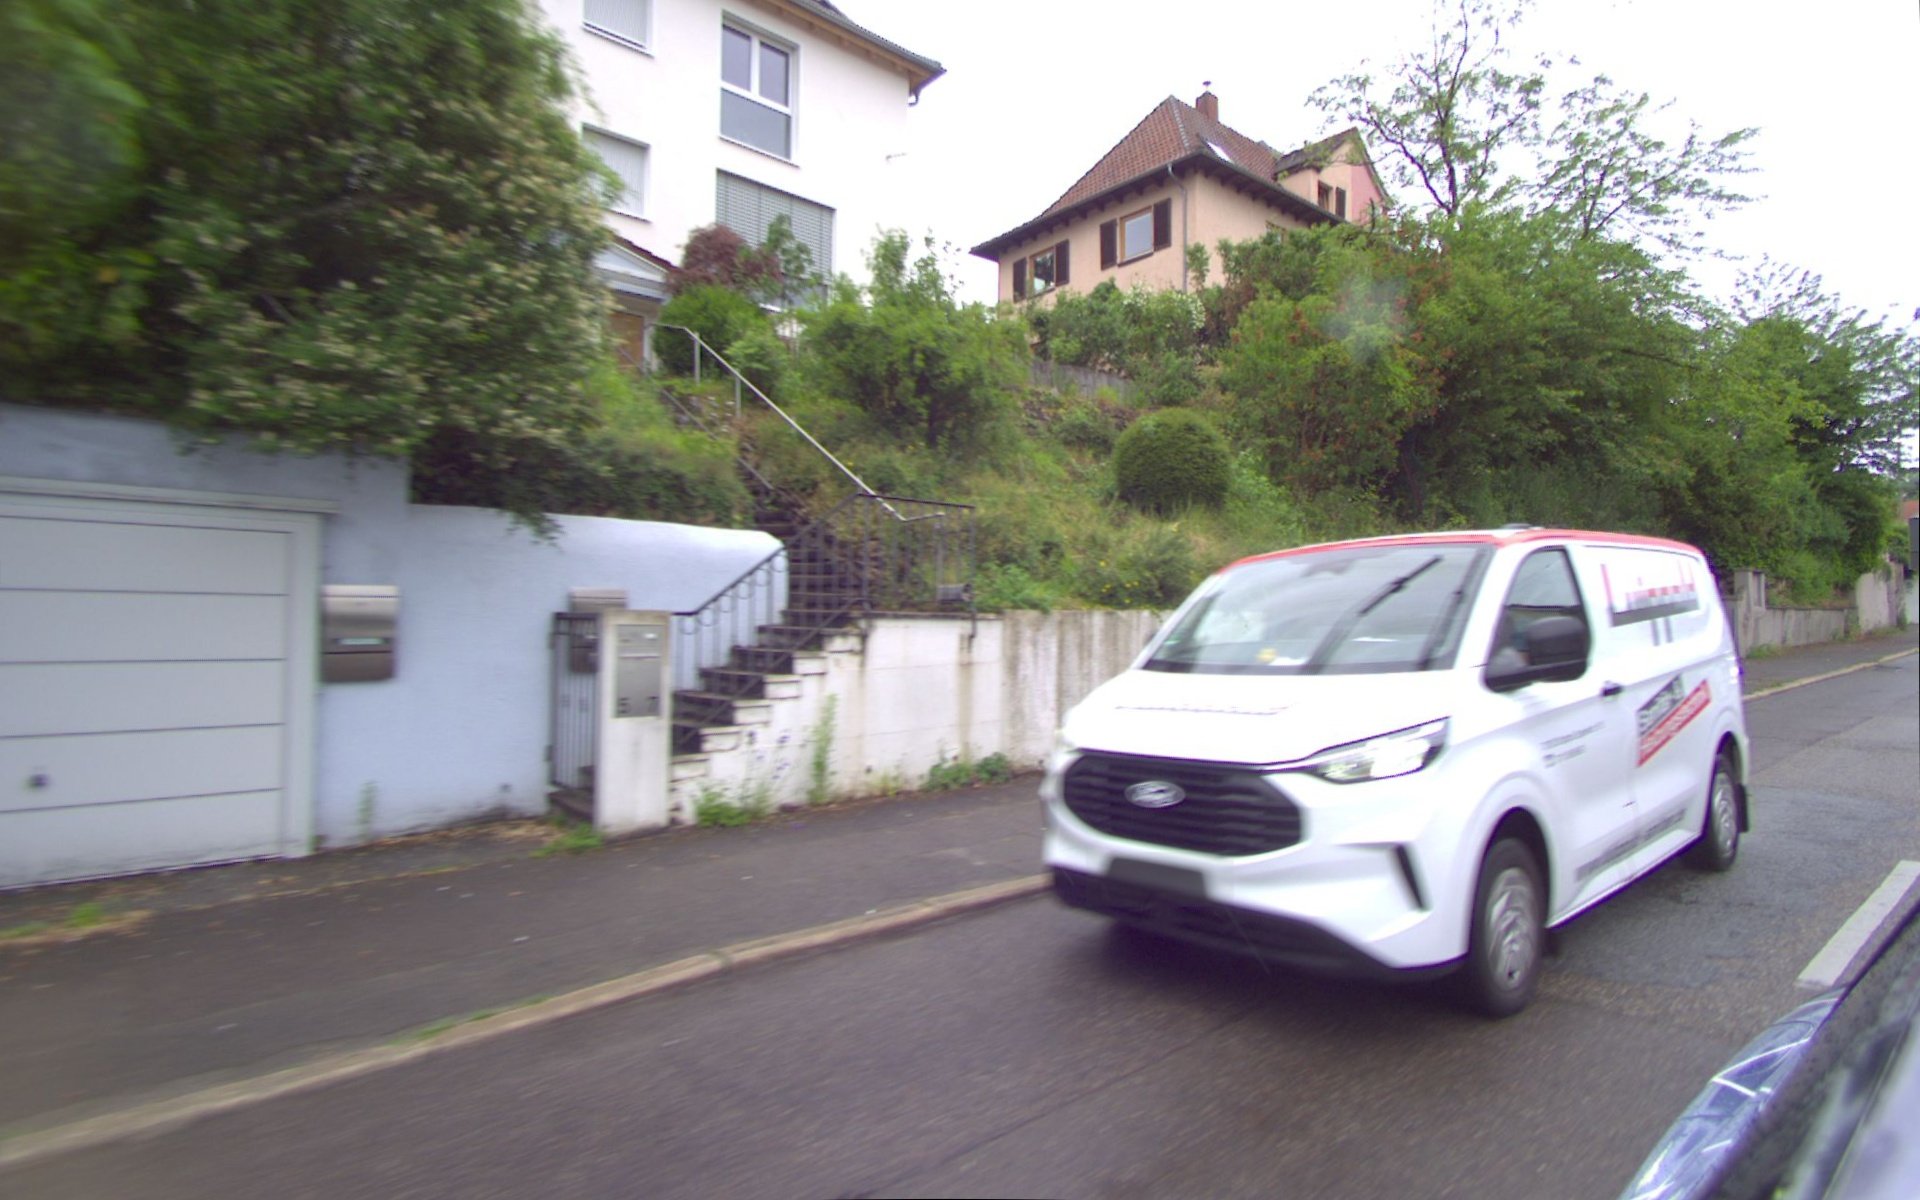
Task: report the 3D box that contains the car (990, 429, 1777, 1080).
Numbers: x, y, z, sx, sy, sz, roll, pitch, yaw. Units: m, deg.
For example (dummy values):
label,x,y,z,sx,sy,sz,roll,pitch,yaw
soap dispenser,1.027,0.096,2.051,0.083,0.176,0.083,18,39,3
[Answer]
label,x,y,z,sx,sy,sz,roll,pitch,yaw
car,2.592,0.566,5.526,4.730,2.032,2.068,2,-4,-41
